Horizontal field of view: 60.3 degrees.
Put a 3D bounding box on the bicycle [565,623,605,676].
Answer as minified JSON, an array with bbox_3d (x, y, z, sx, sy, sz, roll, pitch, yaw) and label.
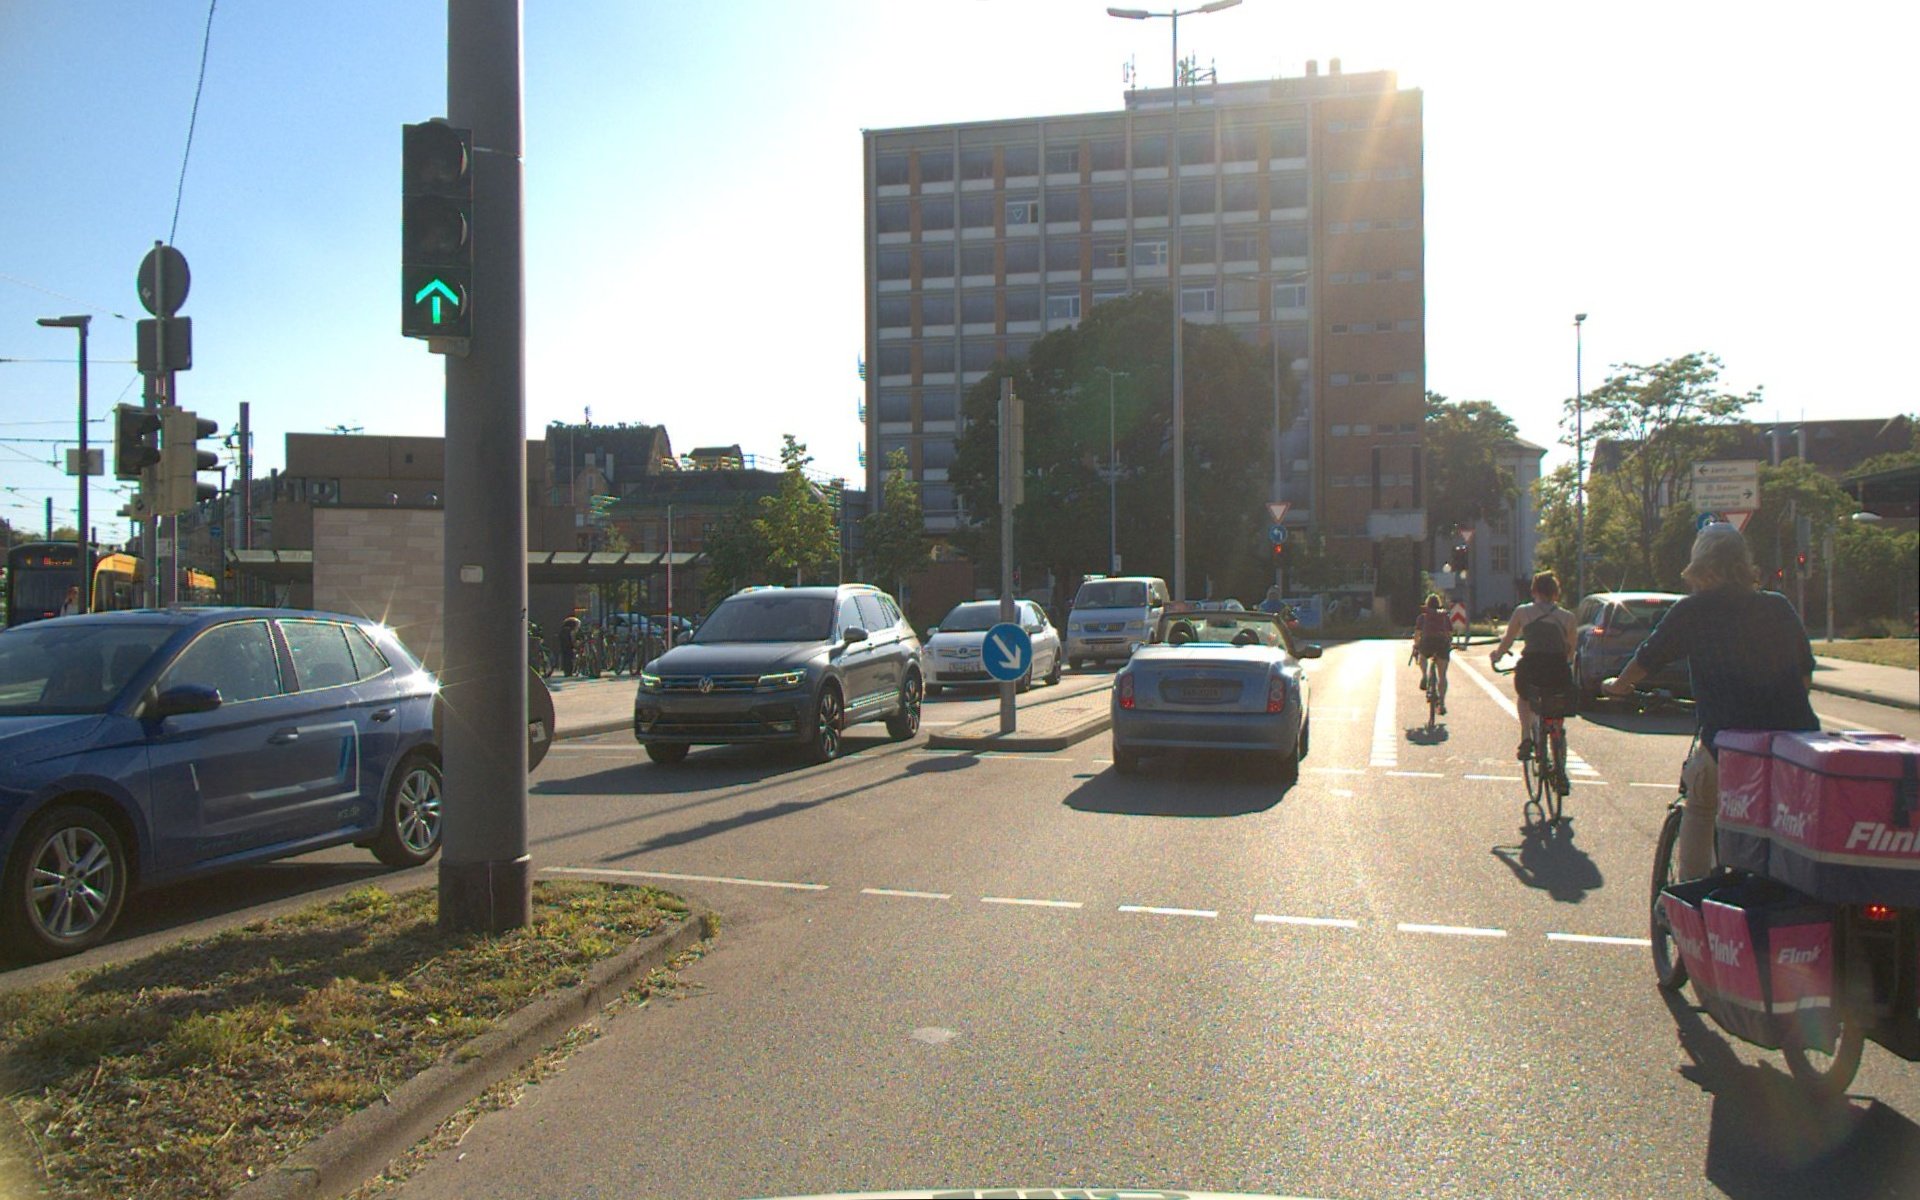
[{"bbox_3d":[-8.332,1.088,36.689,0.598,1.134,1.885,2,-1,-20],"label":"bicycle"}]

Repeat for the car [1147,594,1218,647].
[{"bbox_3d":[7.027,0.622,51.909,1.761,1.557,4.003,-2,0,14],"label":"car"}]

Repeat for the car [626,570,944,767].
[{"bbox_3d":[-1.623,0.632,17.144,1.724,1.736,4.533,-2,-1,15],"label":"car"}]

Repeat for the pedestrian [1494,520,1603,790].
[{"bbox_3d":[4.313,0.390,12.169,0.645,1.902,0.873,1,-1,14],"label":"pedestrian"}]

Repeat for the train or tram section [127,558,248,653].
[{"bbox_3d":[-32.743,0.280,70.587,2.992,3.660,11.991,2,-1,-17],"label":"train or tram section"}]

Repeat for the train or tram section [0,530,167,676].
[{"bbox_3d":[-25.106,0.123,47.641,2.839,3.660,12.126,2,-1,-20],"label":"train or tram section"}]

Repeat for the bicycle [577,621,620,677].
[{"bbox_3d":[-7.623,1.018,34.852,0.598,1.134,1.885,2,-1,-20],"label":"bicycle"}]

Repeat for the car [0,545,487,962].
[{"bbox_3d":[-4.140,0.661,8.153,1.700,1.601,3.927,-3,-2,14],"label":"car"}]

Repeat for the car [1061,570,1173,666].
[{"bbox_3d":[3.644,0.386,37.648,1.868,1.979,4.710,-2,-1,13],"label":"car"}]

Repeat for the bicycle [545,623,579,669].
[{"bbox_3d":[-10.188,1.173,42.292,0.598,1.134,1.885,2,-1,-20],"label":"bicycle"}]

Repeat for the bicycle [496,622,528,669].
[{"bbox_3d":[-11.370,1.139,41.946,0.598,1.134,1.885,2,-1,-20],"label":"bicycle"}]

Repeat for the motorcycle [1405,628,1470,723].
[{"bbox_3d":[6.012,0.920,20.903,0.600,1.117,2.362,1,-1,12],"label":"motorcycle"}]

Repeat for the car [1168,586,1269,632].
[{"bbox_3d":[9.378,0.322,59.857,1.772,1.557,3.979,-2,-1,40],"label":"car"}]

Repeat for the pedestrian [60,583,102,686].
[{"bbox_3d":[-15.402,0.596,28.997,0.630,1.779,0.567,0,-1,-27],"label":"pedestrian"}]

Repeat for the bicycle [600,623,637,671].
[{"bbox_3d":[-8.426,1.159,40.792,0.598,1.134,1.885,2,-1,-20],"label":"bicycle"}]

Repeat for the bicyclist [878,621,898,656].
[{"bbox_3d":[-3.373,1.803,77.885,0.736,1.626,0.589,1,-1,21],"label":"bicyclist"}]

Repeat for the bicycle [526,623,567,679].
[{"bbox_3d":[-8.644,1.052,34.544,0.598,1.134,1.885,2,-1,-20],"label":"bicycle"}]

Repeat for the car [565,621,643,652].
[{"bbox_3d":[-19.746,2.015,91.791,3.904,1.601,1.736,1,-1,19],"label":"car"}]

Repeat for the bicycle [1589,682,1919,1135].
[{"bbox_3d":[2.857,0.936,5.865,0.542,1.192,2.374,1,-1,5],"label":"bicycle"}]

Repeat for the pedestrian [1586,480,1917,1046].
[{"bbox_3d":[2.875,0.555,6.108,0.789,1.902,0.956,1,-1,4],"label":"pedestrian"}]

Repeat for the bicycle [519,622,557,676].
[{"bbox_3d":[-9.335,1.076,36.533,0.598,1.134,1.885,2,-1,-20],"label":"bicycle"}]

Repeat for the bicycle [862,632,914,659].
[{"bbox_3d":[-3.384,2.124,77.886,2.357,1.212,0.610,1,-1,22],"label":"bicycle"}]

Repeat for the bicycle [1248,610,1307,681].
[{"bbox_3d":[5.692,0.804,29.564,0.595,1.212,2.414,1,-1,21],"label":"bicycle"}]

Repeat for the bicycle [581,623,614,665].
[{"bbox_3d":[-10.101,1.212,46.059,0.598,1.134,1.885,2,-1,-20],"label":"bicycle"}]

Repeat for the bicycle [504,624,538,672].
[{"bbox_3d":[-10.637,1.151,40.072,0.598,1.134,1.885,2,-1,-20],"label":"bicycle"}]

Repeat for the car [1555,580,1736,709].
[{"bbox_3d":[10.104,0.643,24.687,1.792,1.719,4.372,1,-1,13],"label":"car"}]

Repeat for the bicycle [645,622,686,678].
[{"bbox_3d":[-6.300,1.054,35.370,0.597,1.134,1.887,2,-1,-18],"label":"bicycle"}]

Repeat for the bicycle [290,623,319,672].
[{"bbox_3d":[-15.919,1.135,40.196,0.598,1.134,1.885,2,-1,-20],"label":"bicycle"}]

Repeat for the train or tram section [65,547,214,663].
[{"bbox_3d":[-29.062,0.205,59.124,2.966,3.660,12.134,2,-1,-18],"label":"train or tram section"}]

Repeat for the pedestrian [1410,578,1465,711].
[{"bbox_3d":[6.028,0.559,20.924,0.575,1.626,1.026,1,-1,12],"label":"pedestrian"}]

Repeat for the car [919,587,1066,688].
[{"bbox_3d":[0.621,0.596,28.009,1.658,1.588,3.983,-1,0,13],"label":"car"}]

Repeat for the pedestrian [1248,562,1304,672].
[{"bbox_3d":[5.629,0.304,29.437,0.816,1.902,0.921,1,-1,21],"label":"pedestrian"}]

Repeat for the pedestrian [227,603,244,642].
[{"bbox_3d":[-33.224,1.033,75.880,0.595,1.779,0.828,-1,-1,-16],"label":"pedestrian"}]

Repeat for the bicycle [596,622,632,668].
[{"bbox_3d":[-8.944,1.151,42.702,0.598,1.134,1.885,2,-1,-20],"label":"bicycle"}]

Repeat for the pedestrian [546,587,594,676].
[{"bbox_3d":[-8.482,0.678,35.934,0.888,1.902,0.683,2,-1,-21],"label":"pedestrian"}]

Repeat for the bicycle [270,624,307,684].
[{"bbox_3d":[-13.278,1.049,32.734,0.598,1.134,1.885,2,-1,-20],"label":"bicycle"}]

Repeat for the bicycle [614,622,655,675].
[{"bbox_3d":[-7.334,1.085,37.242,0.598,1.134,1.885,2,-1,-20],"label":"bicycle"}]

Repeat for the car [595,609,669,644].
[{"bbox_3d":[-15.343,1.234,77.295,3.536,1.588,1.635,-1,0,43],"label":"car"}]

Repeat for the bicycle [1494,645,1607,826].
[{"bbox_3d":[4.268,0.931,12.049,0.552,1.171,1.951,1,-1,13],"label":"bicycle"}]

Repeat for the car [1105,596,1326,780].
[{"bbox_3d":[2.547,0.755,15.678,1.625,1.466,4.157,1,-1,15],"label":"car"}]

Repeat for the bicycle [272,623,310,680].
[{"bbox_3d":[-13.970,1.059,34.568,0.597,1.134,1.886,2,-1,-19],"label":"bicycle"}]
